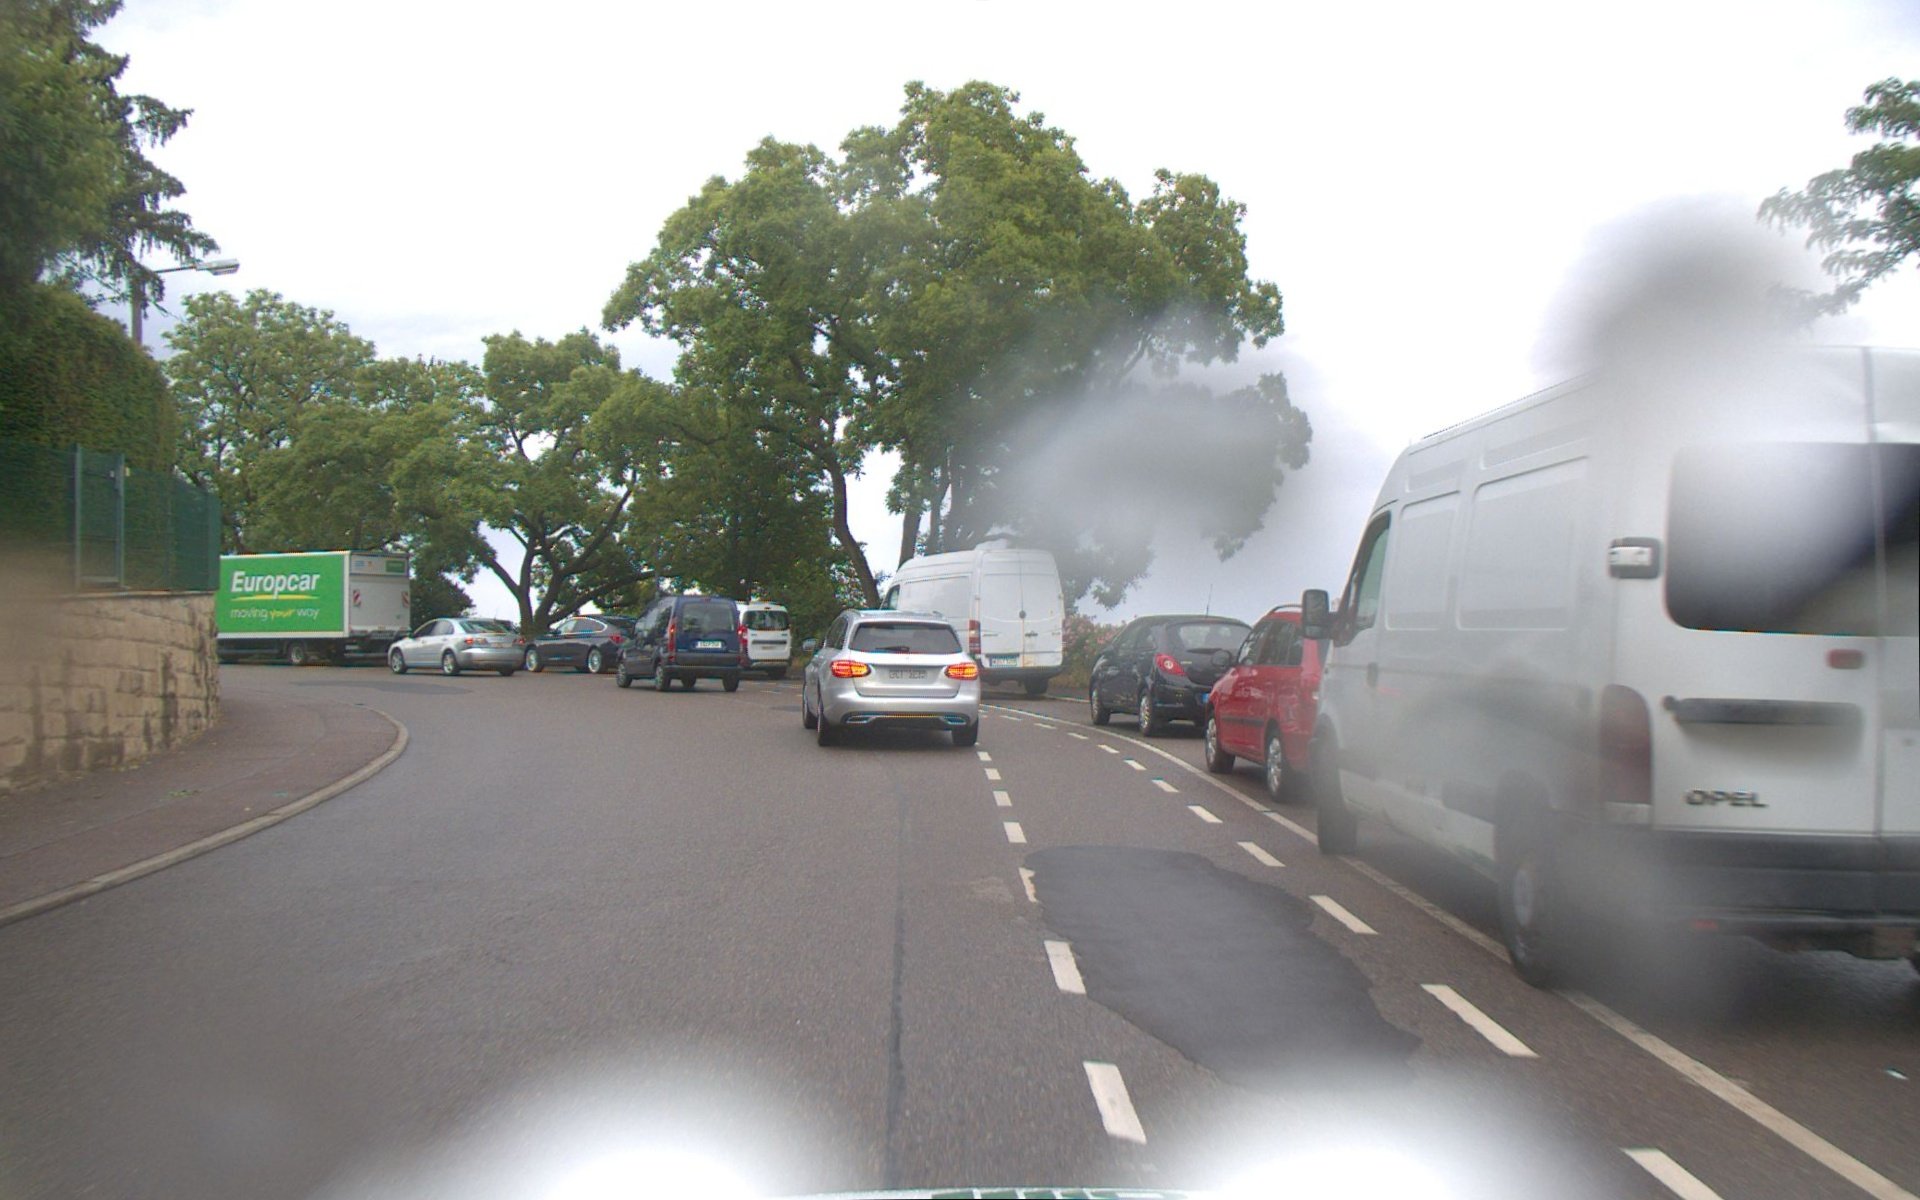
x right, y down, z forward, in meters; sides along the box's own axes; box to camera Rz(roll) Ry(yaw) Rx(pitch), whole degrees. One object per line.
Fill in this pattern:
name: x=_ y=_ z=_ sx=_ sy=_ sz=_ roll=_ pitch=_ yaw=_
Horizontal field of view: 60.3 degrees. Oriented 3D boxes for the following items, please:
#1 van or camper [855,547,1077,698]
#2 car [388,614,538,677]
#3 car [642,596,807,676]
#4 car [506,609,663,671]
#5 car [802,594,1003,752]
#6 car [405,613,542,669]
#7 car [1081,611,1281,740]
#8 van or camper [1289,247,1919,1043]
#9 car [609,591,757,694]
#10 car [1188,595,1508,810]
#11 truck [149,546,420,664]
van or camper: x=-0.036 y=0.392 z=31.751 sx=2.040 sy=2.626 sz=5.842 roll=-1 pitch=0 yaw=-24
car: x=-12.545 y=1.121 z=41.638 sx=4.023 sy=1.484 sz=1.848 roll=-1 pitch=0 yaw=43
car: x=-5.876 y=0.872 z=40.906 sx=4.347 sy=1.853 sz=1.741 roll=-1 pitch=0 yaw=44
car: x=-10.280 y=1.057 z=45.047 sx=4.811 sy=1.569 sz=1.854 roll=-1 pitch=0 yaw=44
car: x=-0.792 y=0.751 z=19.179 sx=1.945 sy=1.581 sz=4.291 roll=-1 pitch=0 yaw=-7
car: x=-14.270 y=1.183 z=48.428 sx=4.052 sy=1.529 sz=1.733 roll=-1 pitch=0 yaw=36
car: x=2.763 y=0.903 z=21.507 sx=1.663 sy=1.469 sz=3.942 roll=-1 pitch=0 yaw=-7
van or camper: x=3.284 y=0.151 z=8.456 sx=2.031 sy=2.708 sz=5.595 roll=1 pitch=0 yaw=-1
car: x=-5.637 y=0.799 z=33.302 sx=1.803 sy=1.915 sz=4.059 roll=-1 pitch=0 yaw=-27
car: x=3.169 y=0.756 z=14.367 sx=1.588 sy=1.567 sz=4.213 roll=-1 pitch=0 yaw=-3
truck: x=-21.519 y=0.178 z=52.571 sx=8.726 sy=3.531 sz=2.781 roll=0 pitch=-1 yaw=25
